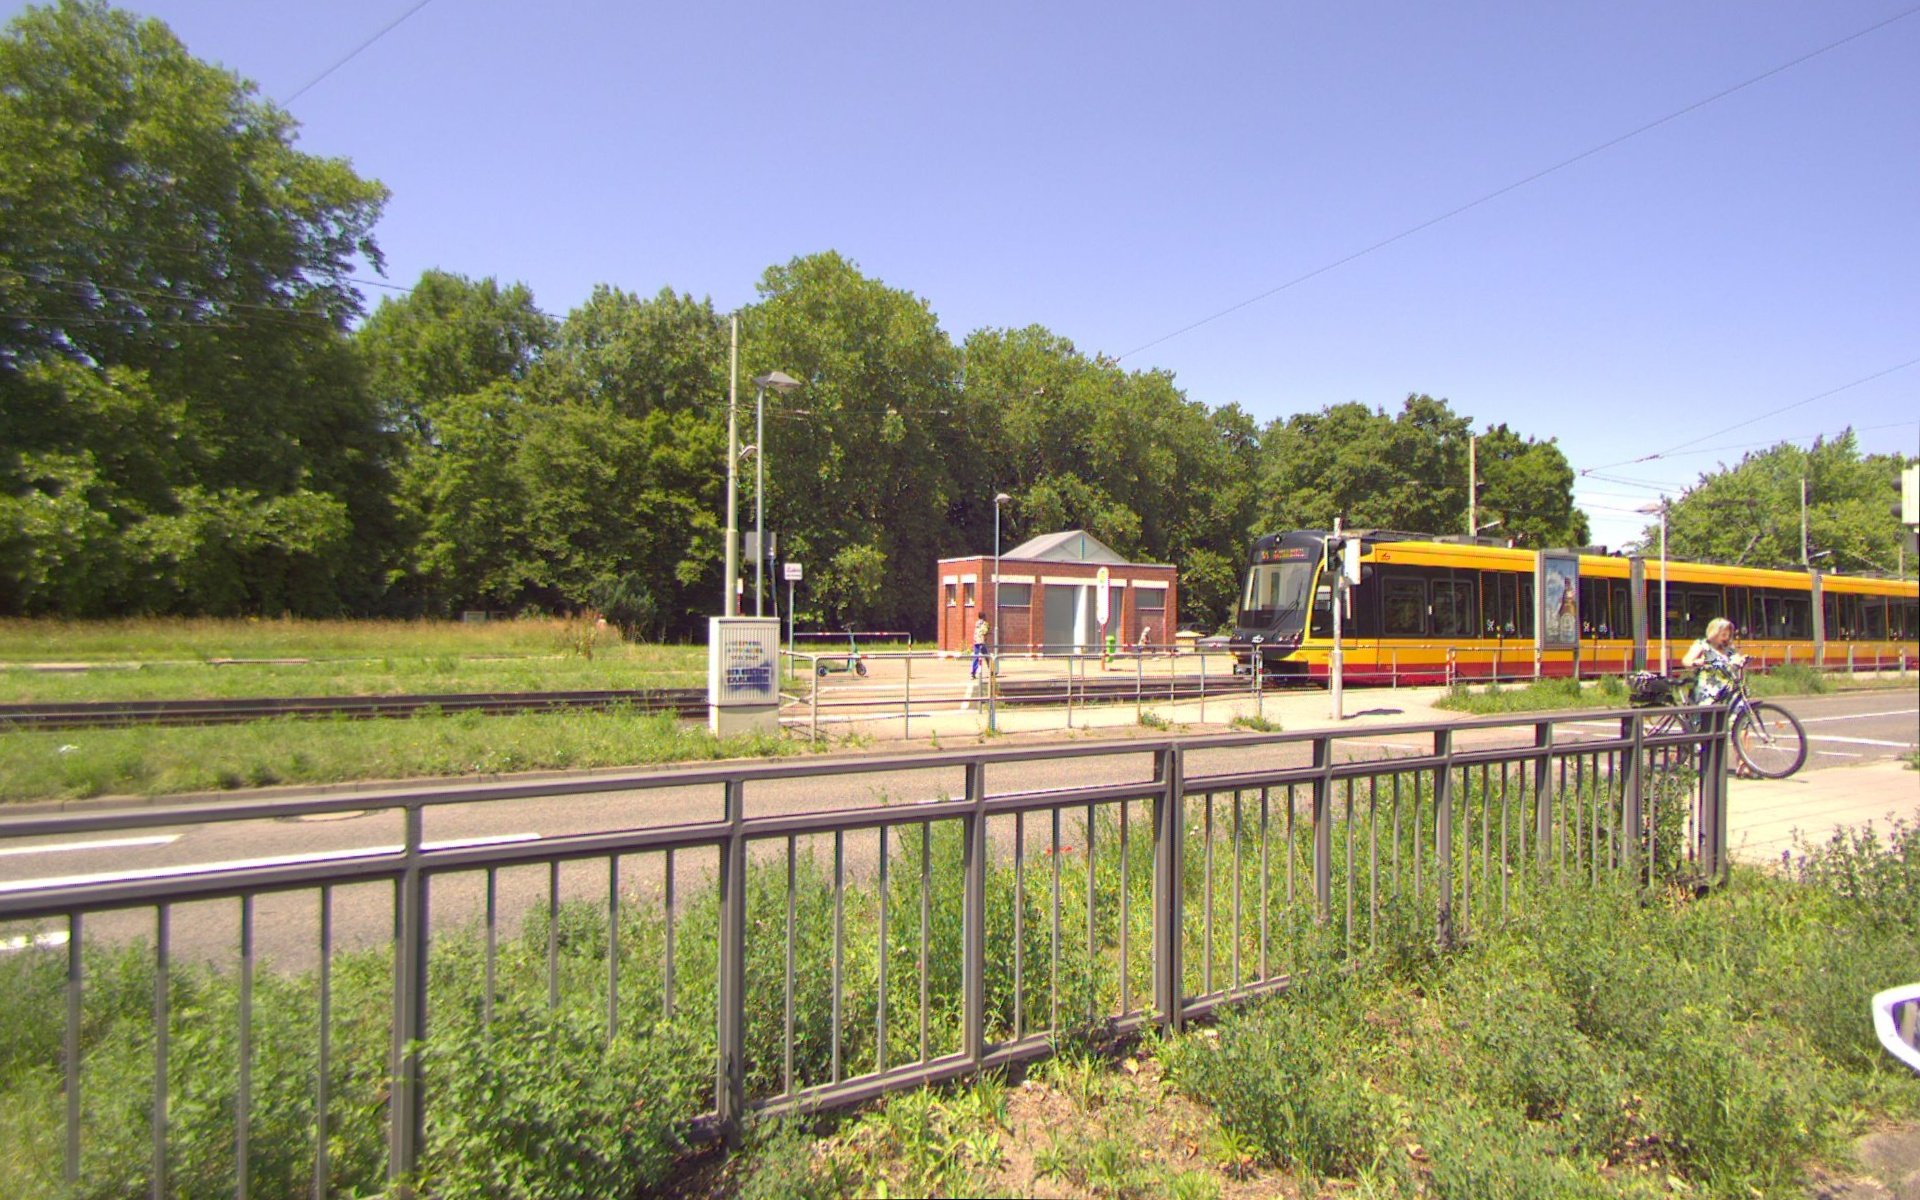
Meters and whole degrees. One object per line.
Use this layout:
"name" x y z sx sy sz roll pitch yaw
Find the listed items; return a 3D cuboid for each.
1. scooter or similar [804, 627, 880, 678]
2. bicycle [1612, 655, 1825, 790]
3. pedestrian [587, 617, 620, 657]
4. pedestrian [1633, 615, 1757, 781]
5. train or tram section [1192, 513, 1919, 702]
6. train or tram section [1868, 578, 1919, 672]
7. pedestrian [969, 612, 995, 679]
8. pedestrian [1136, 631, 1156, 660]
"scooter or similar" -2.756 1.223 23.555 1.640 1.142 0.613 1 -1 15
"bicycle" 7.657 1.192 10.254 0.239 1.172 1.858 1 -1 -24
"pedestrian" -15.378 1.587 43.388 1.245 1.724 0.517 1 -1 16
"pedestrian" 7.702 0.988 10.548 0.695 1.650 0.817 1 -1 -24
"train or tram section" 21.786 0.562 30.347 37.077 3.717 2.774 1 -1 -30
"train or tram section" 48.809 1.265 46.272 25.693 3.717 2.774 1 -1 -30
"pedestrian" 0.527 1.084 23.955 0.528 1.561 0.869 1 -1 -4
"pedestrian" 6.543 1.595 35.280 0.515 1.032 0.479 1 -1 -28
